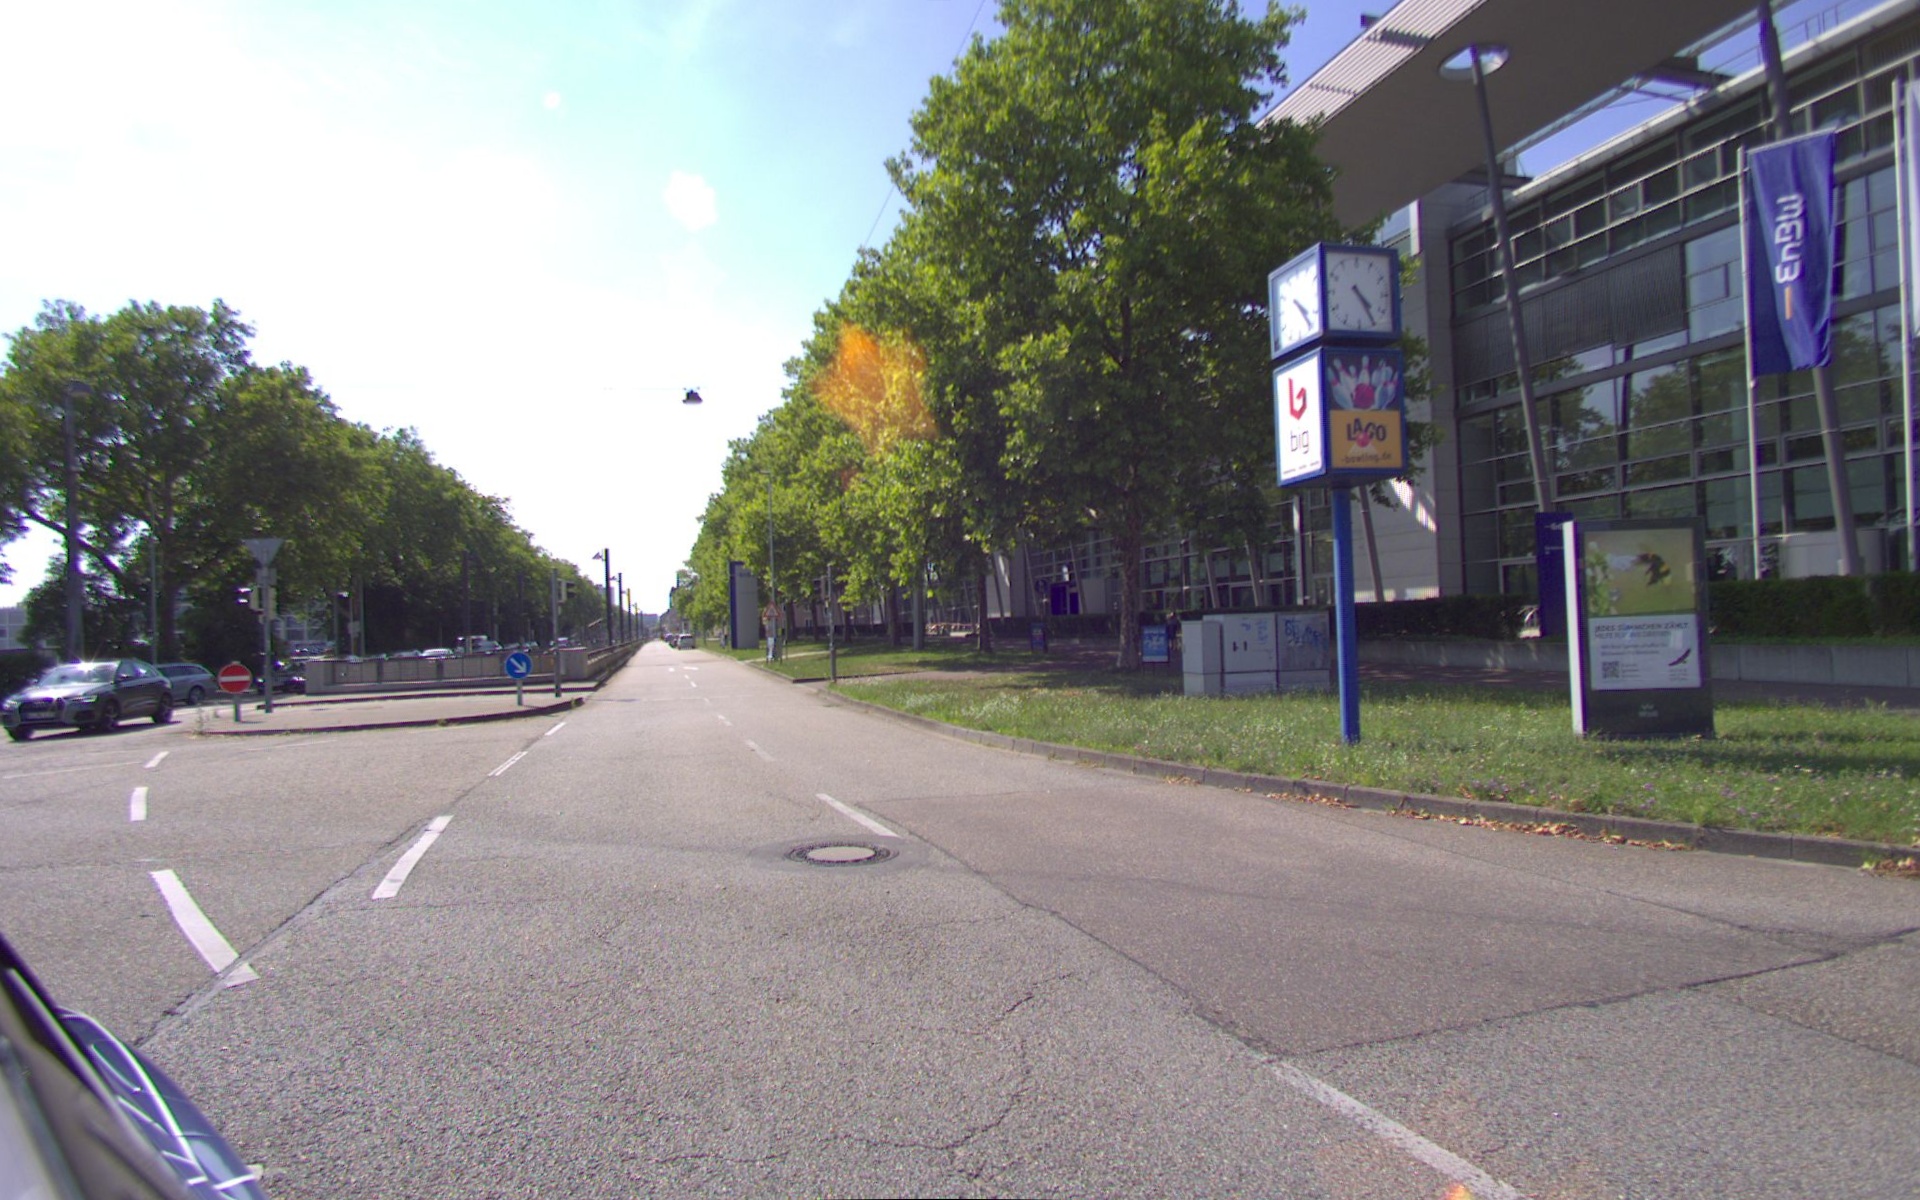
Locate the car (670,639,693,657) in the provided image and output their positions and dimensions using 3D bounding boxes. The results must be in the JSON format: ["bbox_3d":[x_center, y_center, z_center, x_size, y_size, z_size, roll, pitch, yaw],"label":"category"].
[{"bbox_3d":[-28.209,4.850,102.458,1.871,1.652,4.012,-4,-2,-18],"label":"car"}]

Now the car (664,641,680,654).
[{"bbox_3d":[-40.405,6.692,141.892,1.871,1.652,4.012,-4,-2,-18],"label":"car"}]

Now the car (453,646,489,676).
[{"bbox_3d":[-43.135,5.357,89.372,2.066,2.369,5.653,-2,-2,-18],"label":"car"}]

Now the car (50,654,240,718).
[{"bbox_3d":[-28.091,2.911,35.169,1.977,1.737,5.151,-4,-1,8],"label":"car"}]

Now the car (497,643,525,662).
[{"bbox_3d":[-40.552,4.735,91.483,1.792,1.541,4.011,-2,-2,-16],"label":"car"}]

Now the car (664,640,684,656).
[{"bbox_3d":[-32.900,5.488,116.415,1.871,1.652,4.799,-4,-2,-18],"label":"car"}]

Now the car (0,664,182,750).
[{"bbox_3d":[-19.700,2.336,22.915,1.799,1.561,4.574,-2,-2,-17],"label":"car"}]

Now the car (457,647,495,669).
[{"bbox_3d":[-36.733,4.385,76.886,1.792,1.541,4.011,-2,-2,-14],"label":"car"}]

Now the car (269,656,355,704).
[{"bbox_3d":[-25.622,3.140,40.148,1.788,1.625,4.012,-4,-1,-17],"label":"car"}]
